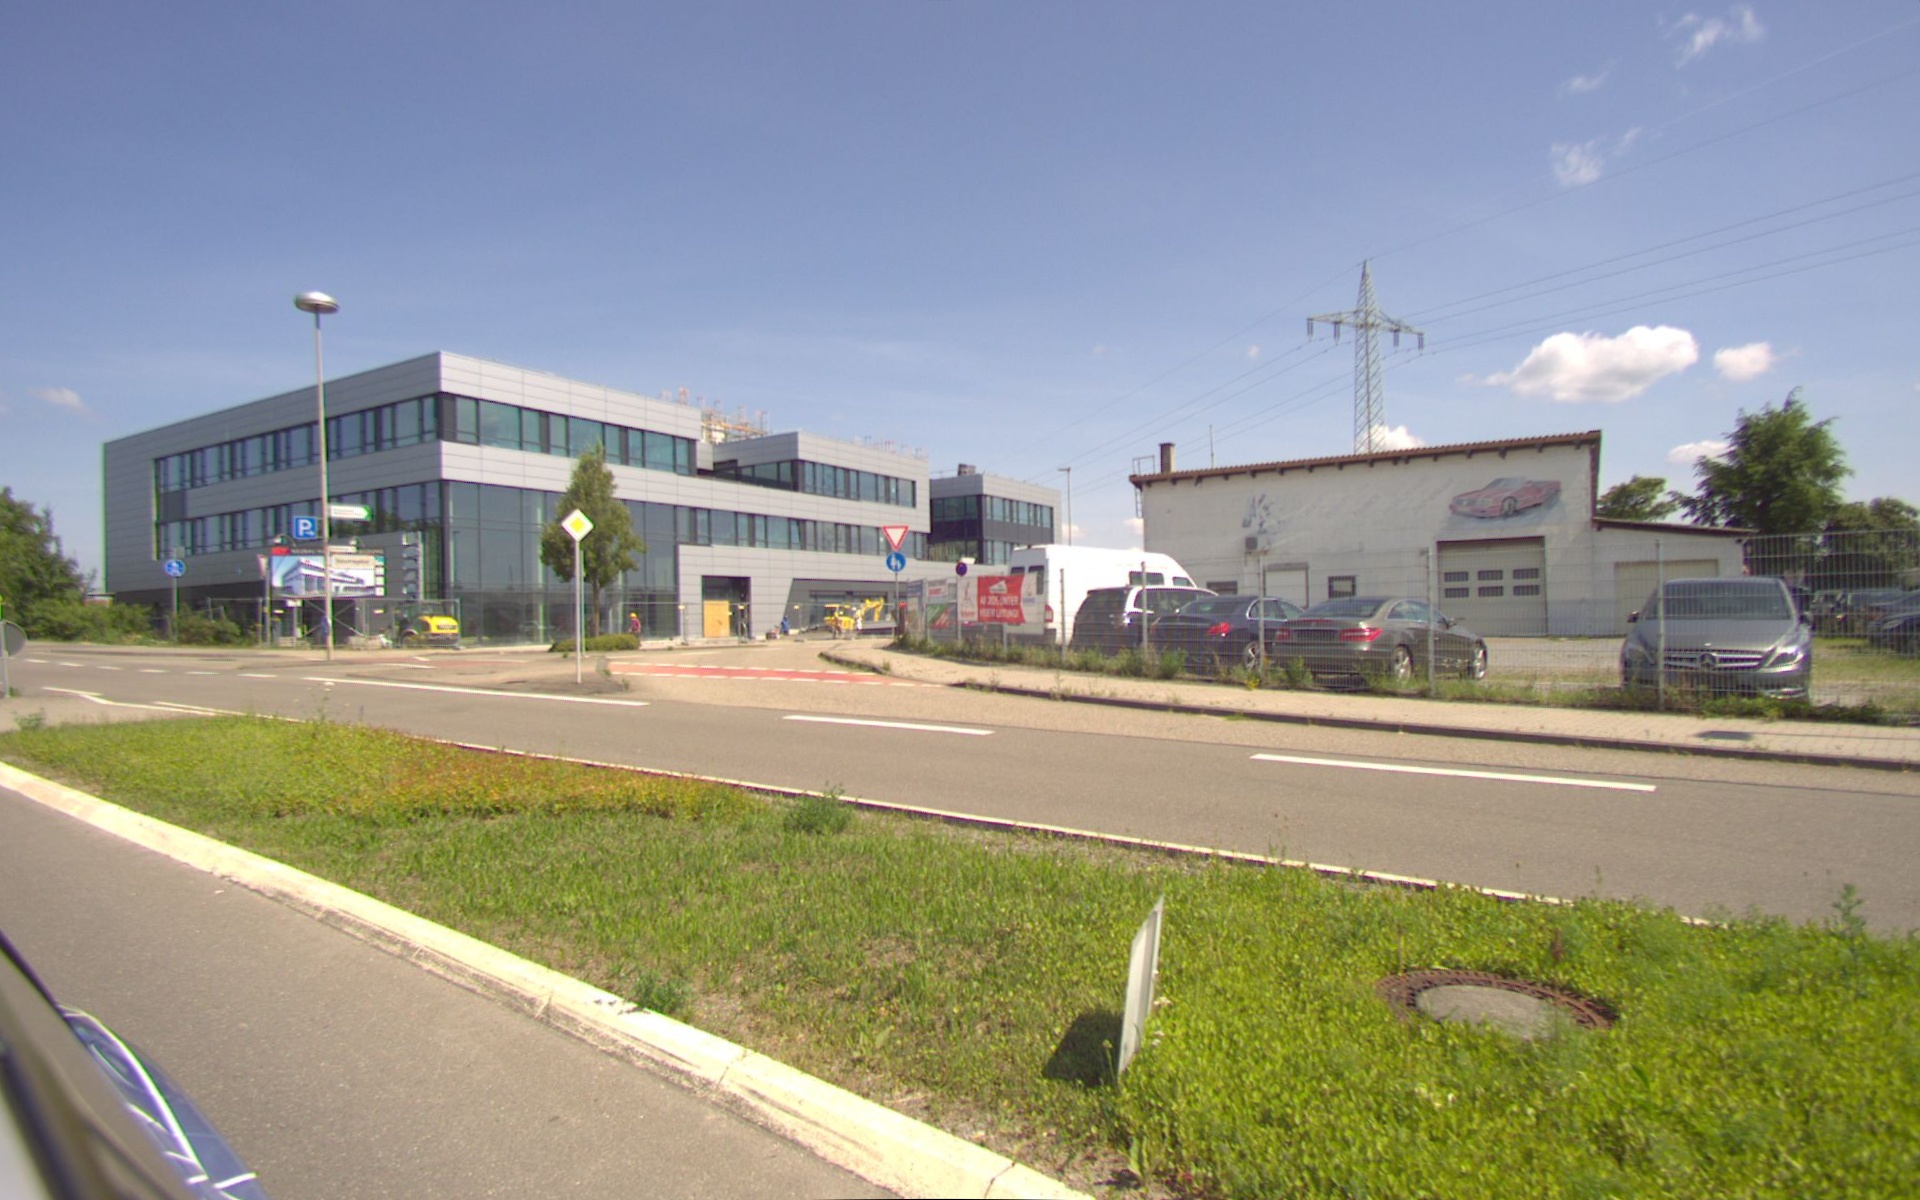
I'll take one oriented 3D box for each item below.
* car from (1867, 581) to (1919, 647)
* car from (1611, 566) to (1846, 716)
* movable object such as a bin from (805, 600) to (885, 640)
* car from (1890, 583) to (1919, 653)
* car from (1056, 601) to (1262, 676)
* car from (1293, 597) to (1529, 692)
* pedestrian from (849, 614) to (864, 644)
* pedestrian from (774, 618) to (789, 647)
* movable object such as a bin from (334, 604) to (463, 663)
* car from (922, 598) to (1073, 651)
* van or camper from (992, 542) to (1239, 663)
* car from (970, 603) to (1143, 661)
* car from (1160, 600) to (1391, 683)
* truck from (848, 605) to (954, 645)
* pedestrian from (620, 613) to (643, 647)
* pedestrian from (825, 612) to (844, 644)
[{"bbox_3d":[22.960,0.271,22.399,3.989,1.453,1.977,-1,-1,34],"label":"car"},{"bbox_3d":[9.490,0.442,12.489,1.998,1.530,3.947,-2,-1,39],"label":"car"},{"bbox_3d":[-7.623,1.315,68.206,3.353,2.471,6.347,-1,-1,14],"label":"movable object such as a bin"},{"bbox_3d":[21.792,0.328,20.539,3.989,1.453,1.977,-1,-1,34],"label":"car"},{"bbox_3d":[4.019,0.719,20.261,3.934,1.331,1.840,0,-1,-35],"label":"car"},{"bbox_3d":[7.202,0.631,16.047,3.826,1.331,1.696,0,-1,-35],"label":"car"},{"bbox_3d":[-6.053,1.684,59.139,0.712,1.741,0.773,-1,-1,8],"label":"pedestrian"},{"bbox_3d":[-10.825,1.966,61.455,0.531,1.741,0.766,-1,-1,32],"label":"pedestrian"},{"bbox_3d":[-24.652,1.457,44.420,5.426,2.428,2.155,-1,-1,24],"label":"movable object such as a bin"},{"bbox_3d":[1.053,0.645,27.676,3.932,1.331,1.564,-1,-1,-32],"label":"car"},{"bbox_3d":[3.637,0.045,23.323,5.493,2.516,2.085,-1,-1,-30],"label":"van or camper"},{"bbox_3d":[2.443,0.767,25.468,3.932,1.331,2.006,0,-1,-33],"label":"car"},{"bbox_3d":[5.728,0.691,18.276,3.934,1.331,2.005,0,-1,-35],"label":"car"},{"bbox_3d":[-3.516,1.499,61.228,6.081,2.251,2.366,-1,-1,8],"label":"truck"},{"bbox_3d":[-16.648,1.514,51.346,0.771,1.741,0.774,-1,-1,30],"label":"pedestrian"},{"bbox_3d":[-7.364,1.645,59.375,0.895,1.893,0.702,-1,-1,22],"label":"pedestrian"}]
